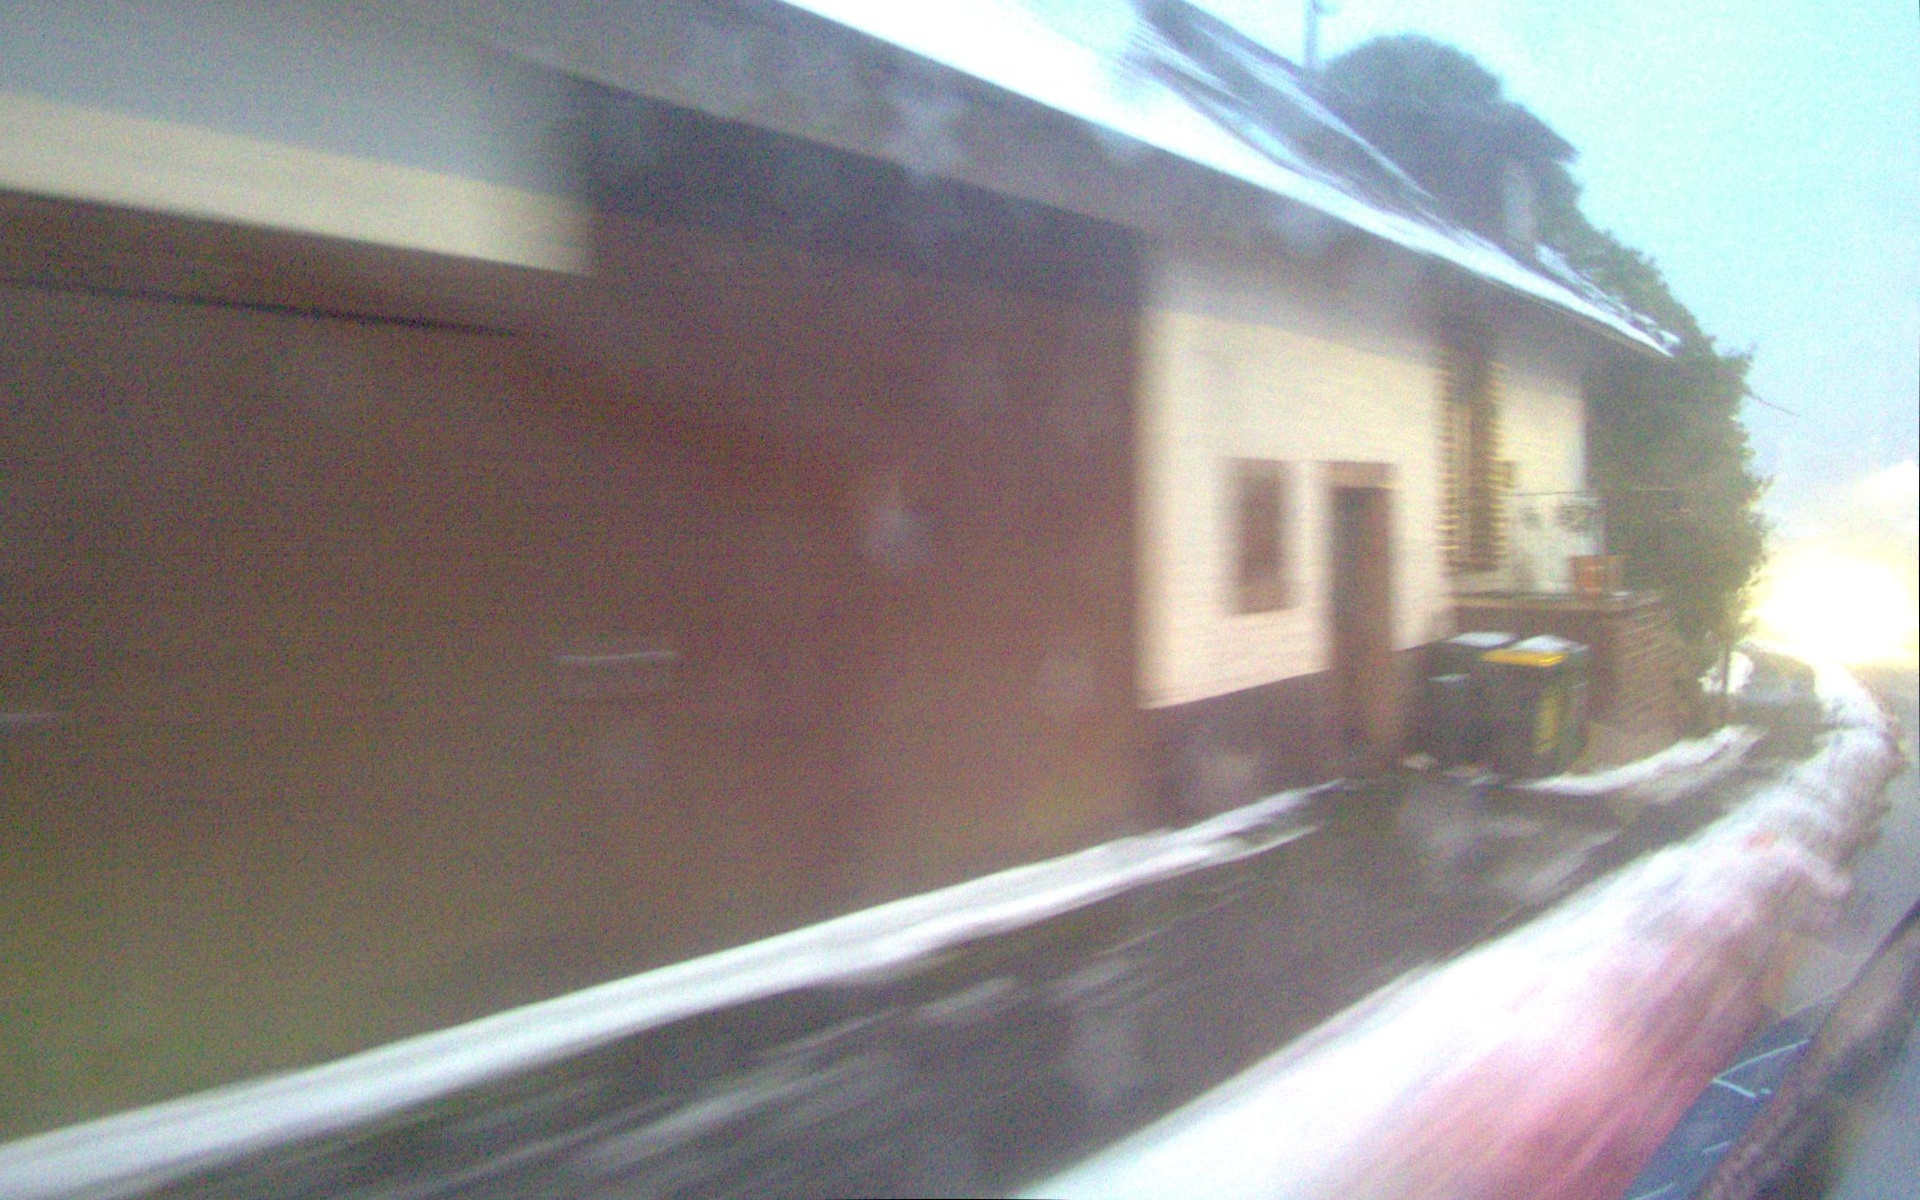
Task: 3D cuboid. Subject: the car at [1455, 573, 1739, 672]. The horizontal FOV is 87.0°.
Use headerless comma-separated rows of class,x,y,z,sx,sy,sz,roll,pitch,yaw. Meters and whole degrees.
car,10.861,0.392,17.658,3.961,1.556,1.981,-1,-1,27
